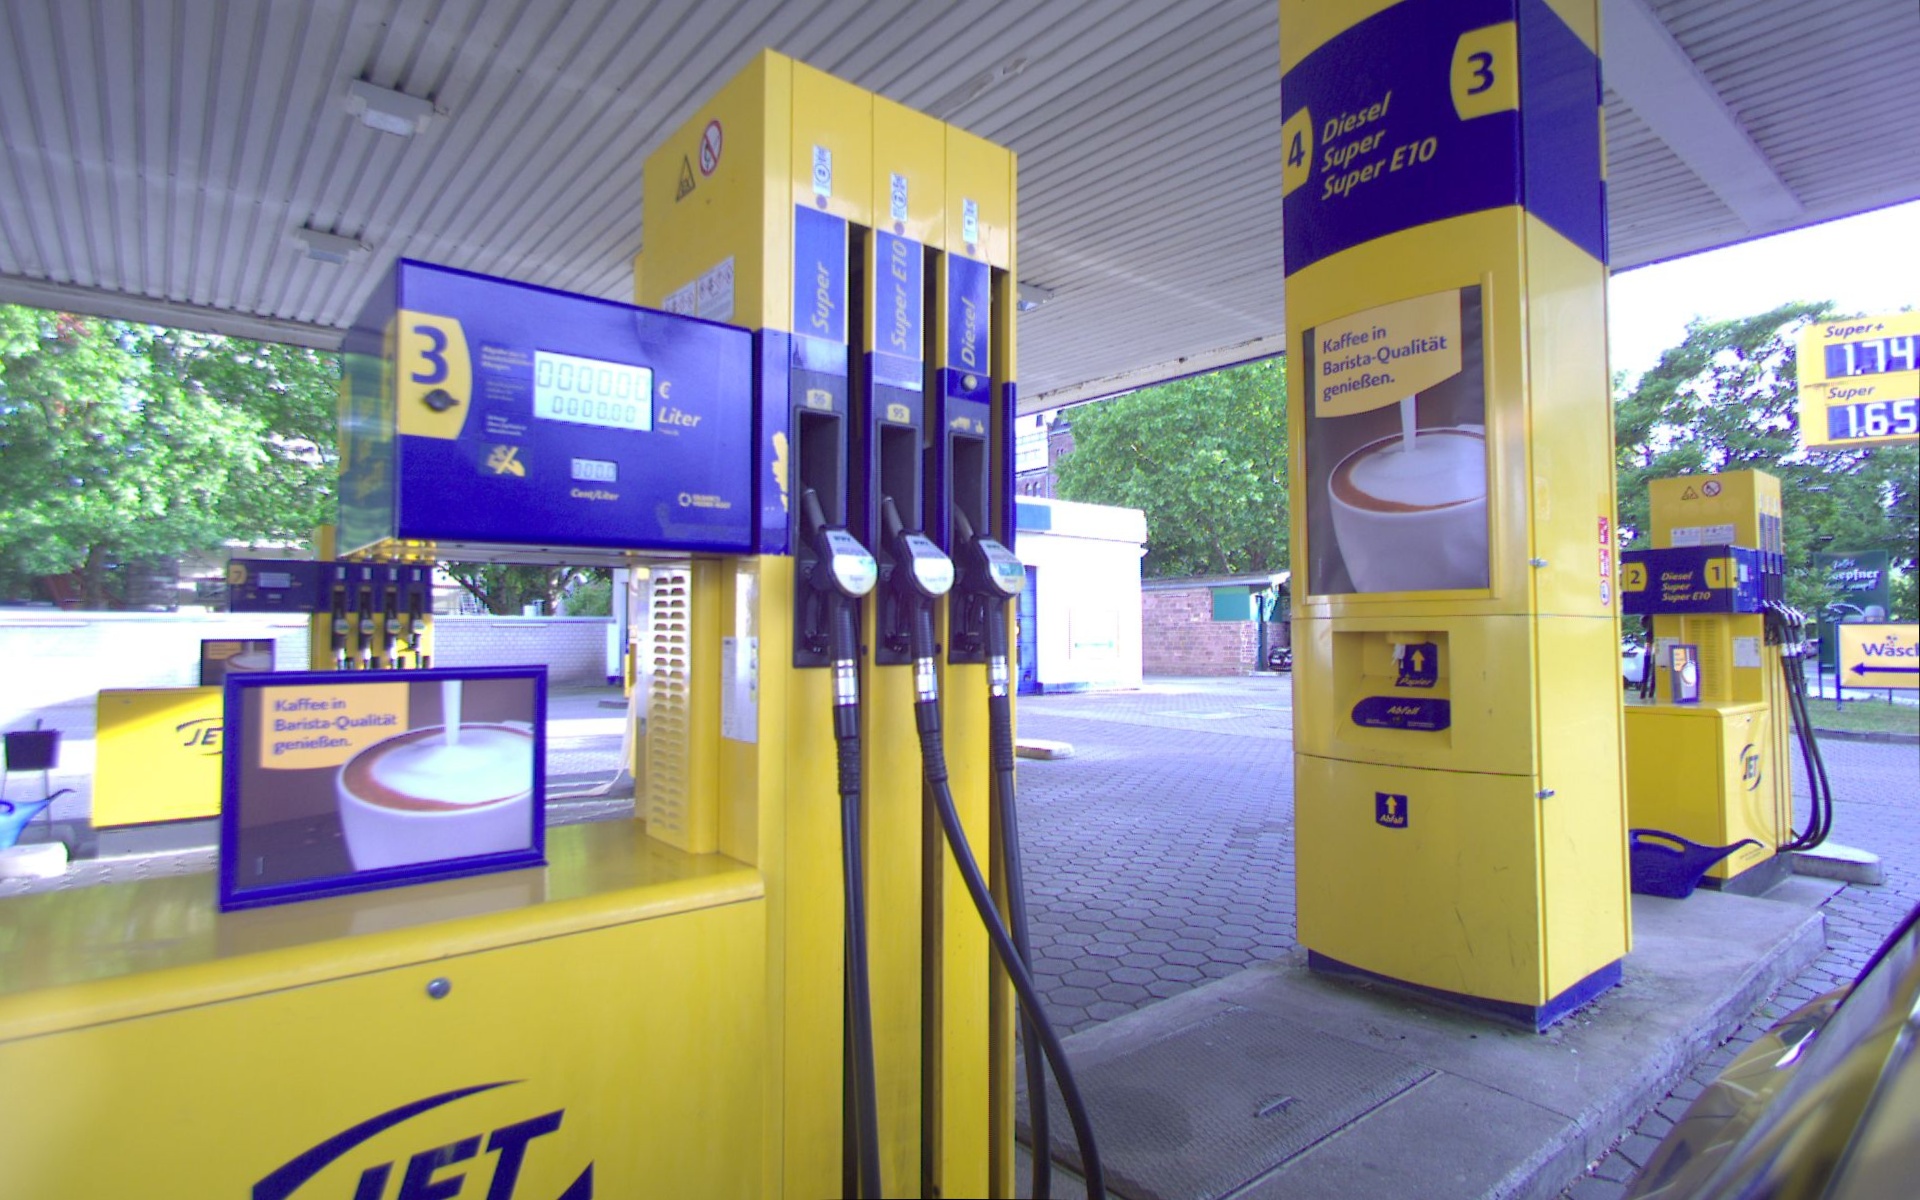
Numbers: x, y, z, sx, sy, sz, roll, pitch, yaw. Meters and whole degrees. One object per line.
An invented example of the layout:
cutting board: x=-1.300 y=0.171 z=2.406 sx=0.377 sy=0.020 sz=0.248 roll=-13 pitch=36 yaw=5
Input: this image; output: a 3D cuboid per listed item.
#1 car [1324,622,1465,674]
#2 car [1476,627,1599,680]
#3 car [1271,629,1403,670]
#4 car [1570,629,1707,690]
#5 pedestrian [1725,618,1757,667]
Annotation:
car: x=13.806 y=1.547 z=32.156 sx=4.134 sy=1.544 sz=1.791 roll=2 pitch=-3 yaw=-24
car: x=17.573 y=1.639 z=30.756 sx=3.923 sy=1.529 sz=1.740 roll=3 pitch=-3 yaw=-35
car: x=12.847 y=1.699 z=34.505 sx=4.134 sy=1.294 sz=1.751 roll=2 pitch=-3 yaw=-22
car: x=18.237 y=1.561 z=27.169 sx=3.923 sy=1.529 sz=1.740 roll=2 pitch=-3 yaw=-35
pedestrian: x=33.860 y=1.830 z=43.887 sx=0.925 sy=2.040 sz=1.203 roll=0 pitch=-2 yaw=30
